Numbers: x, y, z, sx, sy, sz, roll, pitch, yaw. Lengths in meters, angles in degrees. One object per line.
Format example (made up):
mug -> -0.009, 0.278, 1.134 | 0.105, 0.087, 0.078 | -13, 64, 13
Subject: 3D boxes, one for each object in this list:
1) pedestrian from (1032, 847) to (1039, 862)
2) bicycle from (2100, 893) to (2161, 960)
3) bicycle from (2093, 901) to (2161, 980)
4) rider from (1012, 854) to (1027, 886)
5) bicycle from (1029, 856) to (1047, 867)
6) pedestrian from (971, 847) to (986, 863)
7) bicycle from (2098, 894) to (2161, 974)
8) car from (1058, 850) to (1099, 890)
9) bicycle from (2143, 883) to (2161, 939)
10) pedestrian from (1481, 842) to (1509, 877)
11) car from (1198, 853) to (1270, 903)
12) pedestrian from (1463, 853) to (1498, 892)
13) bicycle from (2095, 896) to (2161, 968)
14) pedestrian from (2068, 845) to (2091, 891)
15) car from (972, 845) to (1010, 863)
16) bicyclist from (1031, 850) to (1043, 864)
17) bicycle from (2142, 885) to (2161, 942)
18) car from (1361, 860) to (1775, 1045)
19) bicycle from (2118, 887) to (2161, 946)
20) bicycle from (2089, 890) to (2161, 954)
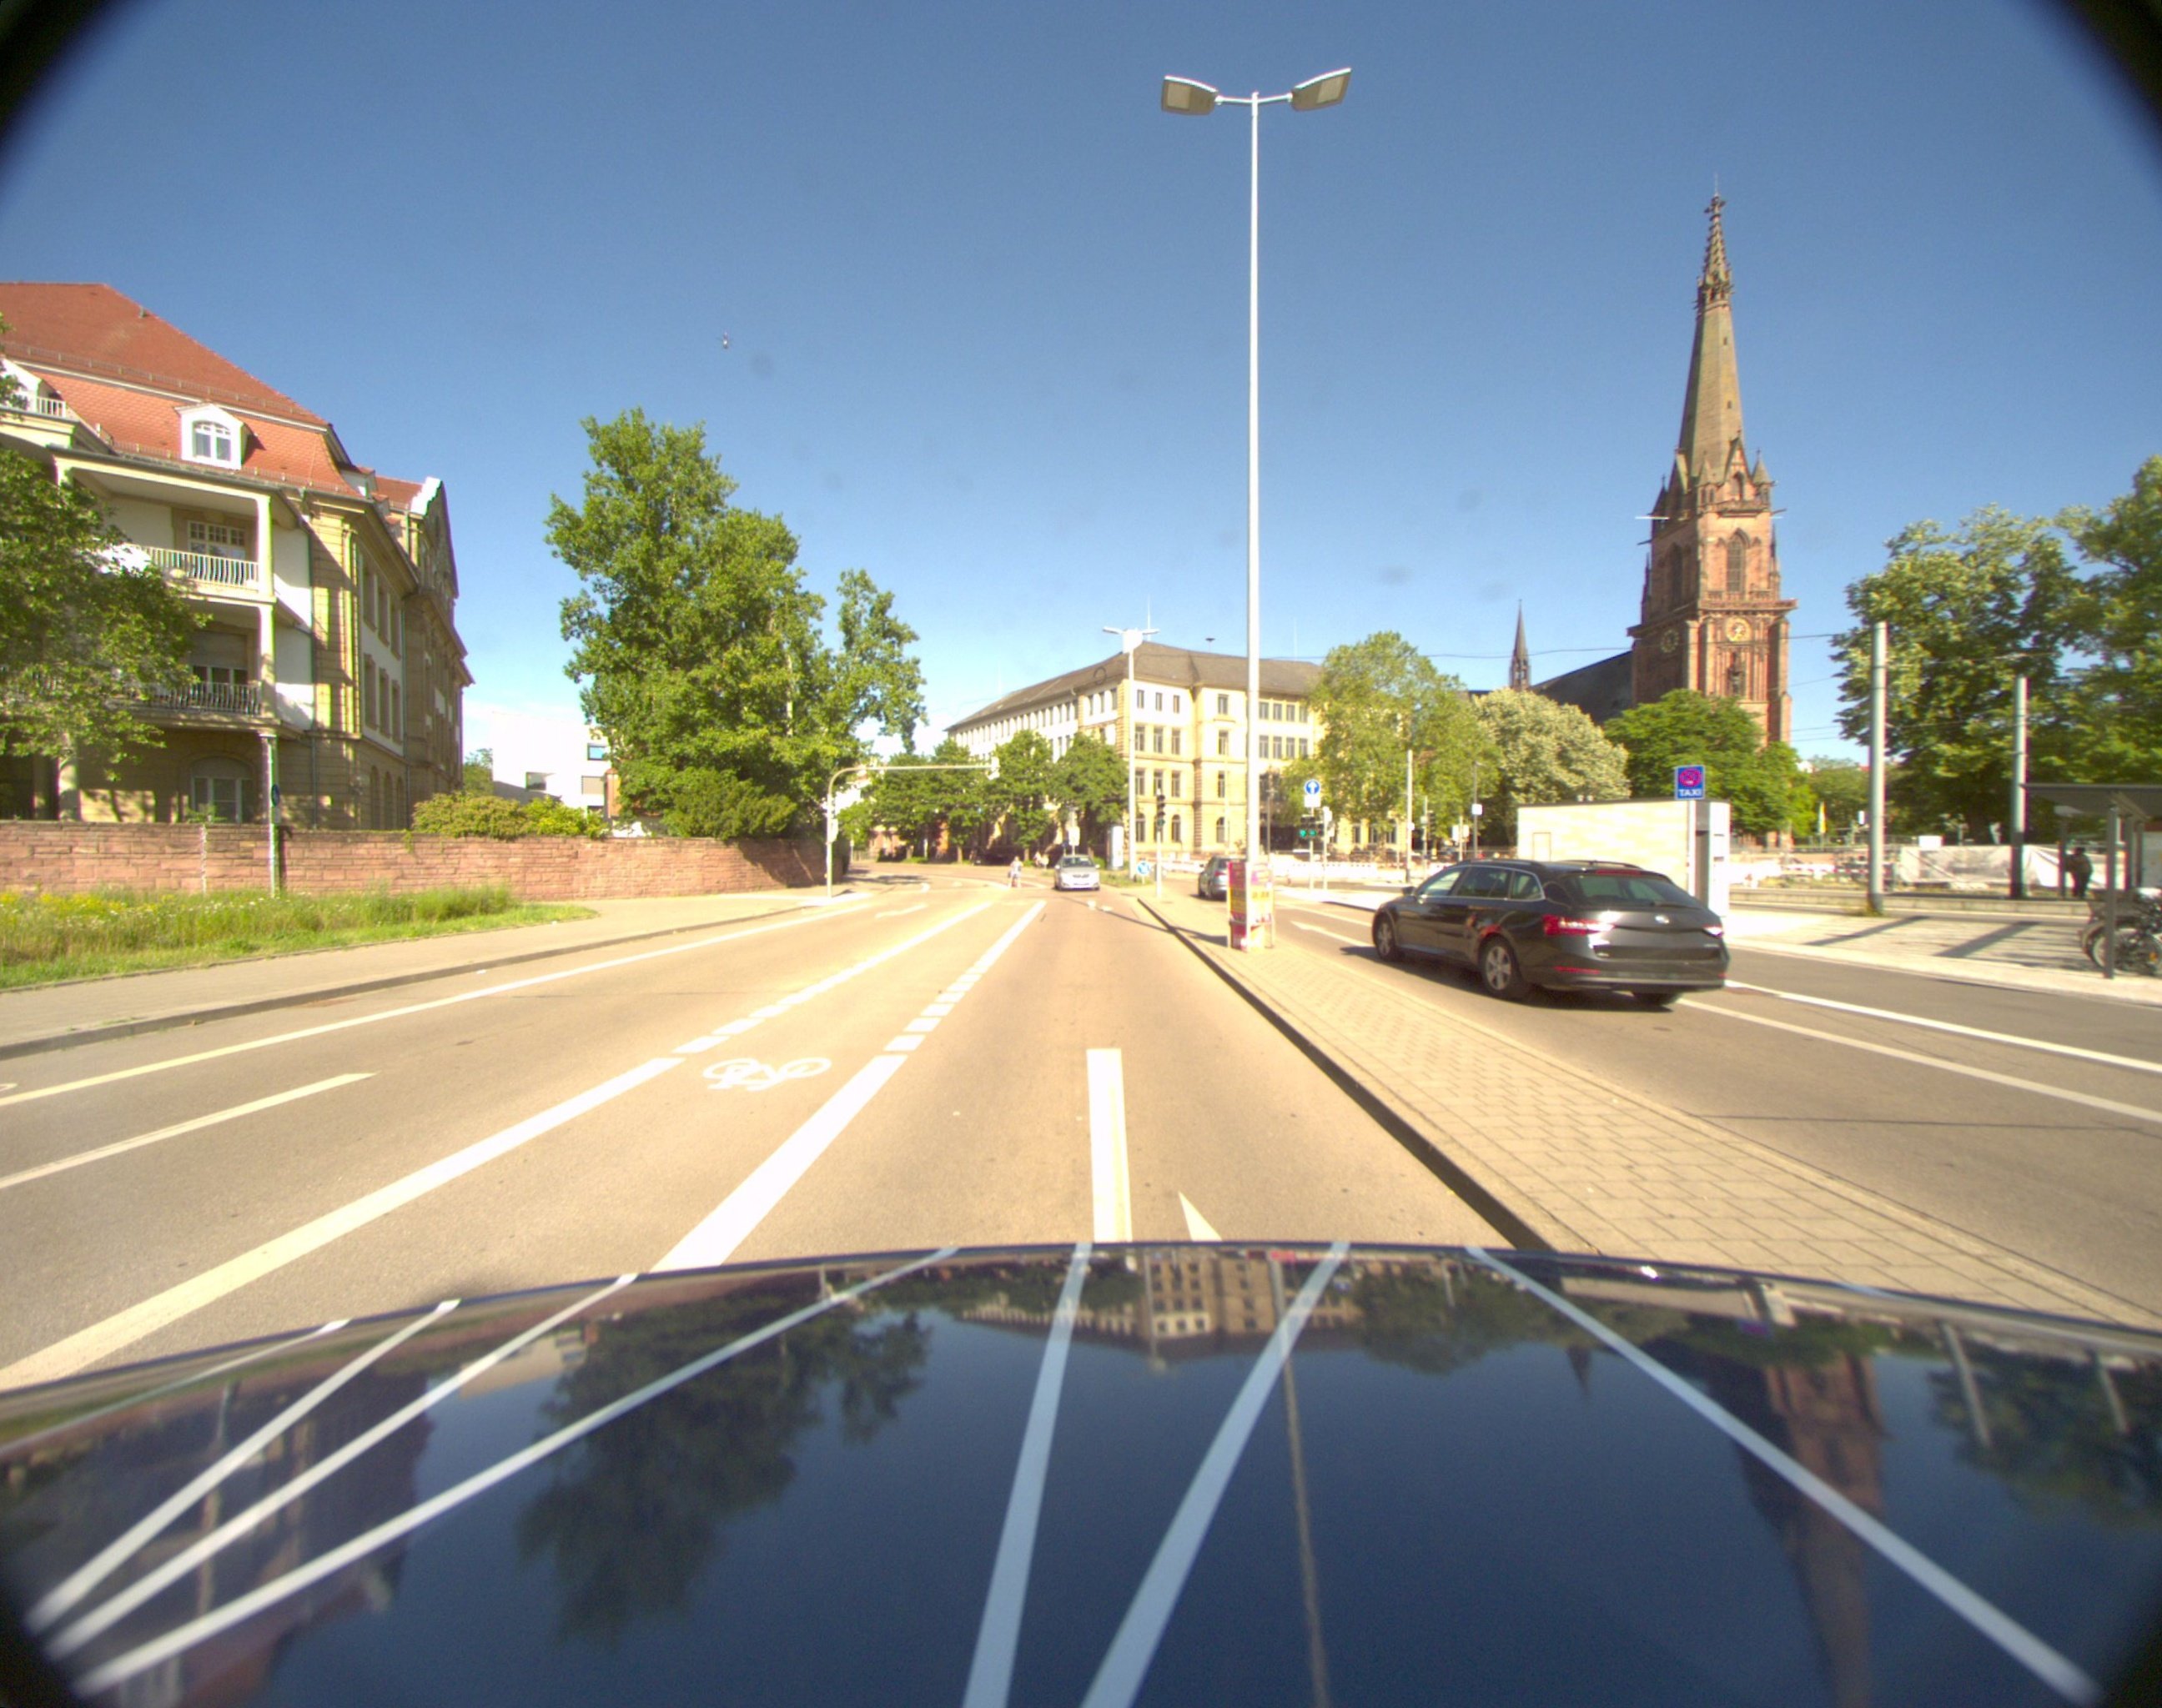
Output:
pedestrian -> -5.201, 0.093, 86.983 | 0.677, 1.714, 0.588 | -1, 1, -22
bicycle -> 17.252, 1.150, 11.654 | 0.458, 1.003, 1.899 | -1, 1, -33
bicycle -> 14.692, 1.173, 9.964 | 0.458, 1.003, 1.667 | -1, 1, -33
rider -> -3.232, 0.827, 39.742 | 0.658, 1.610, 0.989 | -1, 1, 1
bicycle -> -4.213, 0.727, 74.561 | 1.830, 0.985, 0.735 | 0, 1, 44
pedestrian -> -12.089, 0.093, 89.643 | 0.934, 1.812, 1.394 | 1, 1, 45
bicycle -> 15.193, 1.126, 10.279 | 0.458, 1.055, 1.667 | -1, 1, -33
car -> -0.129, 0.678, 34.375 | 1.706, 1.657, 3.913 | -1, 1, -1
bicycle -> 20.480, 1.065, 13.610 | 0.458, 1.003, 1.667 | -1, 1, -33
pedestrian -> 21.178, 0.269, 38.865 | 0.977, 1.769, 0.803 | 0, 1, -1
car -> 5.261, 0.774, 26.655 | 1.859, 1.533, 4.241 | 1, 1, 3
pedestrian -> 18.532, 0.850, 35.274 | 0.977, 1.769, 1.131 | 0, 1, -1
bicycle -> 16.065, 1.155, 10.976 | 0.458, 1.003, 1.667 | -1, 1, -33
pedestrian -> 37.564, 0.502, 28.577 | 0.404, 1.711, 0.419 | 1, 1, 38
car -> -10.736, -0.033, 90.760 | 1.994, 2.002, 4.721 | 0, 1, 32
bicyclist -> -4.285, 0.313, 74.459 | 0.893, 1.377, 0.735 | 1, 1, 44
bicycle -> 19.887, 1.078, 13.199 | 0.458, 1.003, 1.667 | -1, 1, -33
car -> 5.051, 0.875, 8.851 | 1.793, 1.490, 4.574 | 1, 1, -1
bicycle -> 19.120, 1.101, 12.948 | 0.458, 1.003, 1.667 | -1, 1, -33
bicycle -> 17.906, 1.129, 12.427 | 0.458, 1.003, 1.667 | -1, 1, -33
